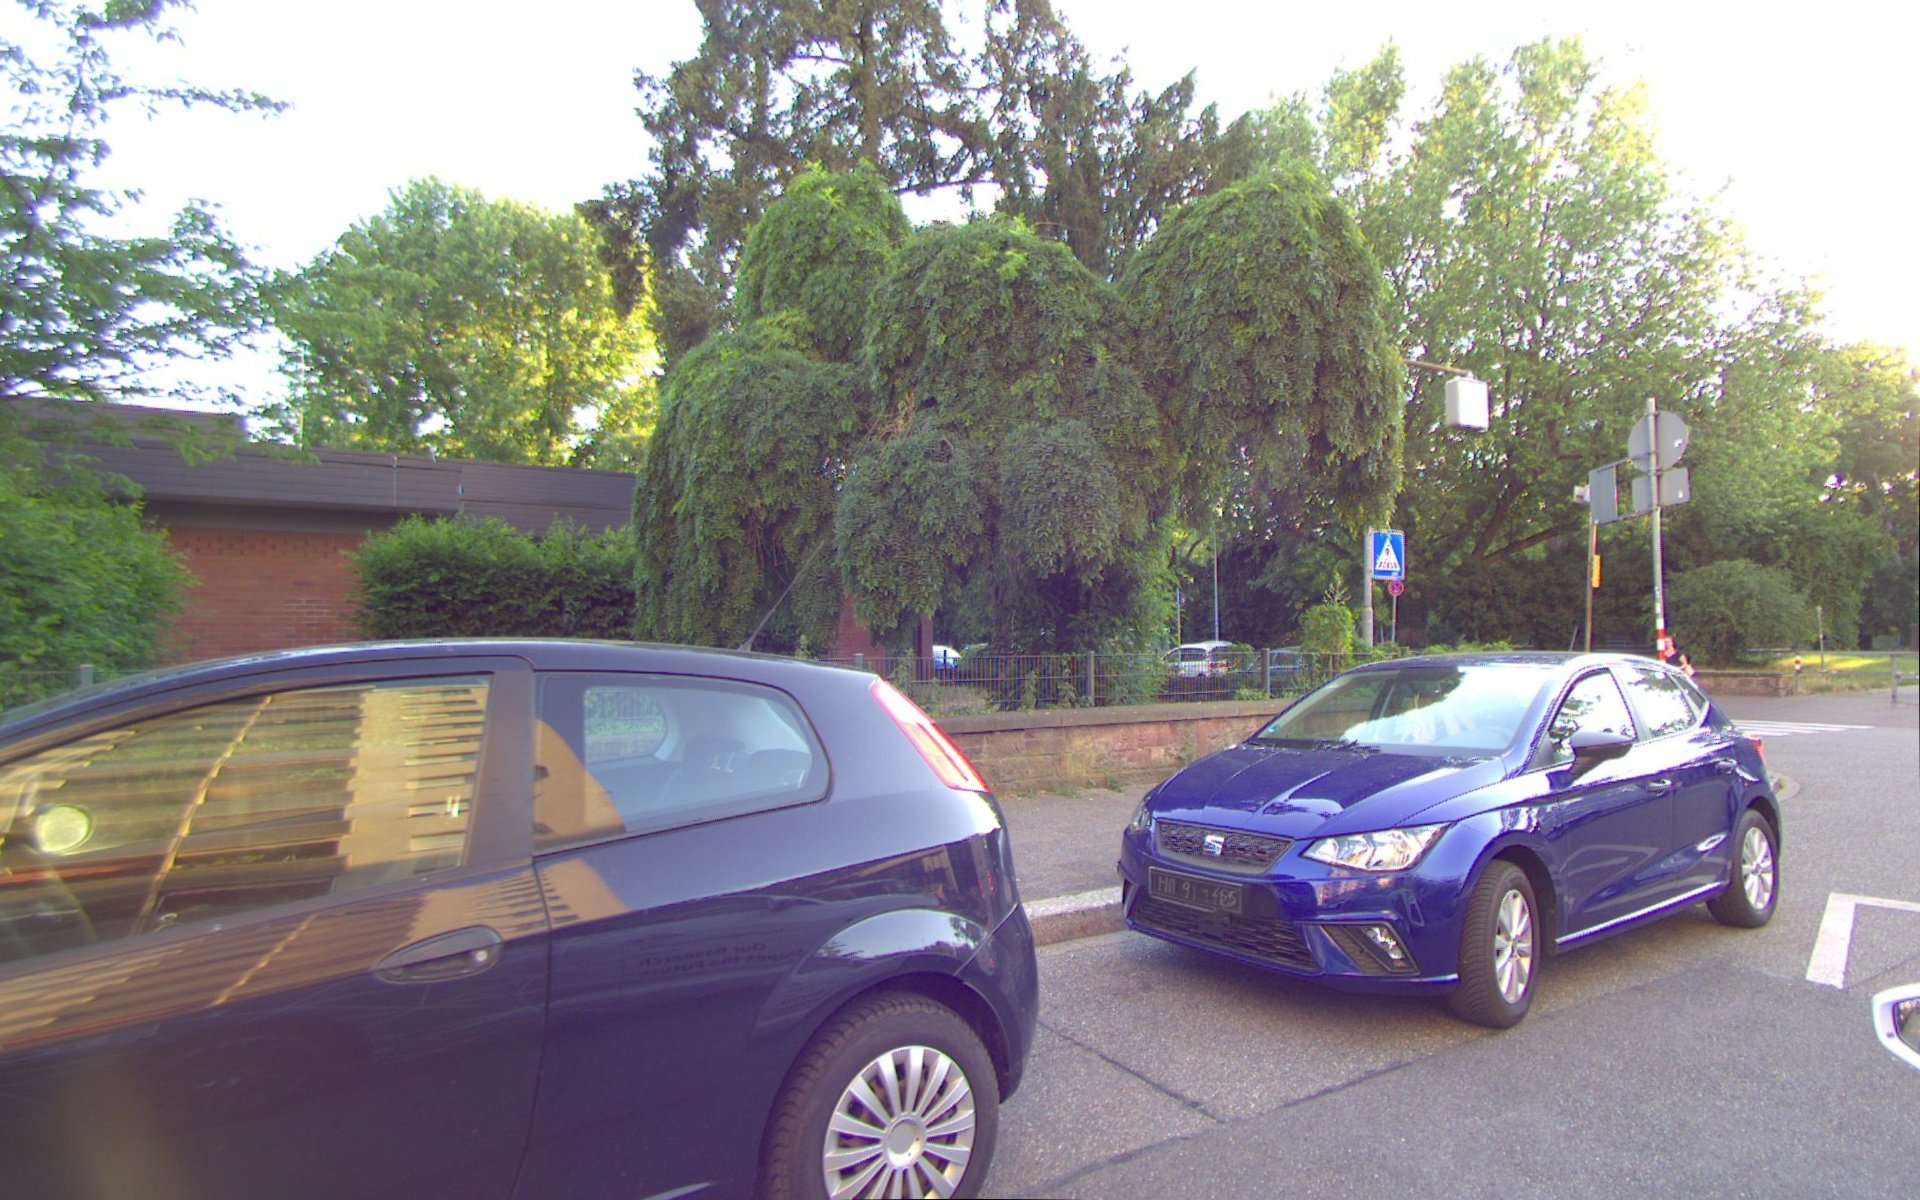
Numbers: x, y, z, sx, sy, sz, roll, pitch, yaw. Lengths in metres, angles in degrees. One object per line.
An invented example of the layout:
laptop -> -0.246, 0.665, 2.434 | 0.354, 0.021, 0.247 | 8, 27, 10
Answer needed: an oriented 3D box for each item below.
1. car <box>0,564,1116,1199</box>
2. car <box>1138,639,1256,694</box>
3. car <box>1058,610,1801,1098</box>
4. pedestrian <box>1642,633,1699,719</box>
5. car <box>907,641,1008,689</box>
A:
car -> -1.586, 0.798, 2.355 | 3.659, 1.587, 1.723 | 1, -4, -34
car -> 8.147, 2.285, 34.889 | 1.800, 1.583, 3.856 | -6, 0, -27
car -> 2.495, 0.910, 5.091 | 3.752, 1.587, 1.723 | 1, -4, -35
pedestrian -> 14.090, 1.499, 19.935 | 0.661, 1.671, 0.648 | 0, 0, -5
car -> -0.154, 2.344, 36.019 | 1.801, 1.564, 4.211 | 4, -5, -28
